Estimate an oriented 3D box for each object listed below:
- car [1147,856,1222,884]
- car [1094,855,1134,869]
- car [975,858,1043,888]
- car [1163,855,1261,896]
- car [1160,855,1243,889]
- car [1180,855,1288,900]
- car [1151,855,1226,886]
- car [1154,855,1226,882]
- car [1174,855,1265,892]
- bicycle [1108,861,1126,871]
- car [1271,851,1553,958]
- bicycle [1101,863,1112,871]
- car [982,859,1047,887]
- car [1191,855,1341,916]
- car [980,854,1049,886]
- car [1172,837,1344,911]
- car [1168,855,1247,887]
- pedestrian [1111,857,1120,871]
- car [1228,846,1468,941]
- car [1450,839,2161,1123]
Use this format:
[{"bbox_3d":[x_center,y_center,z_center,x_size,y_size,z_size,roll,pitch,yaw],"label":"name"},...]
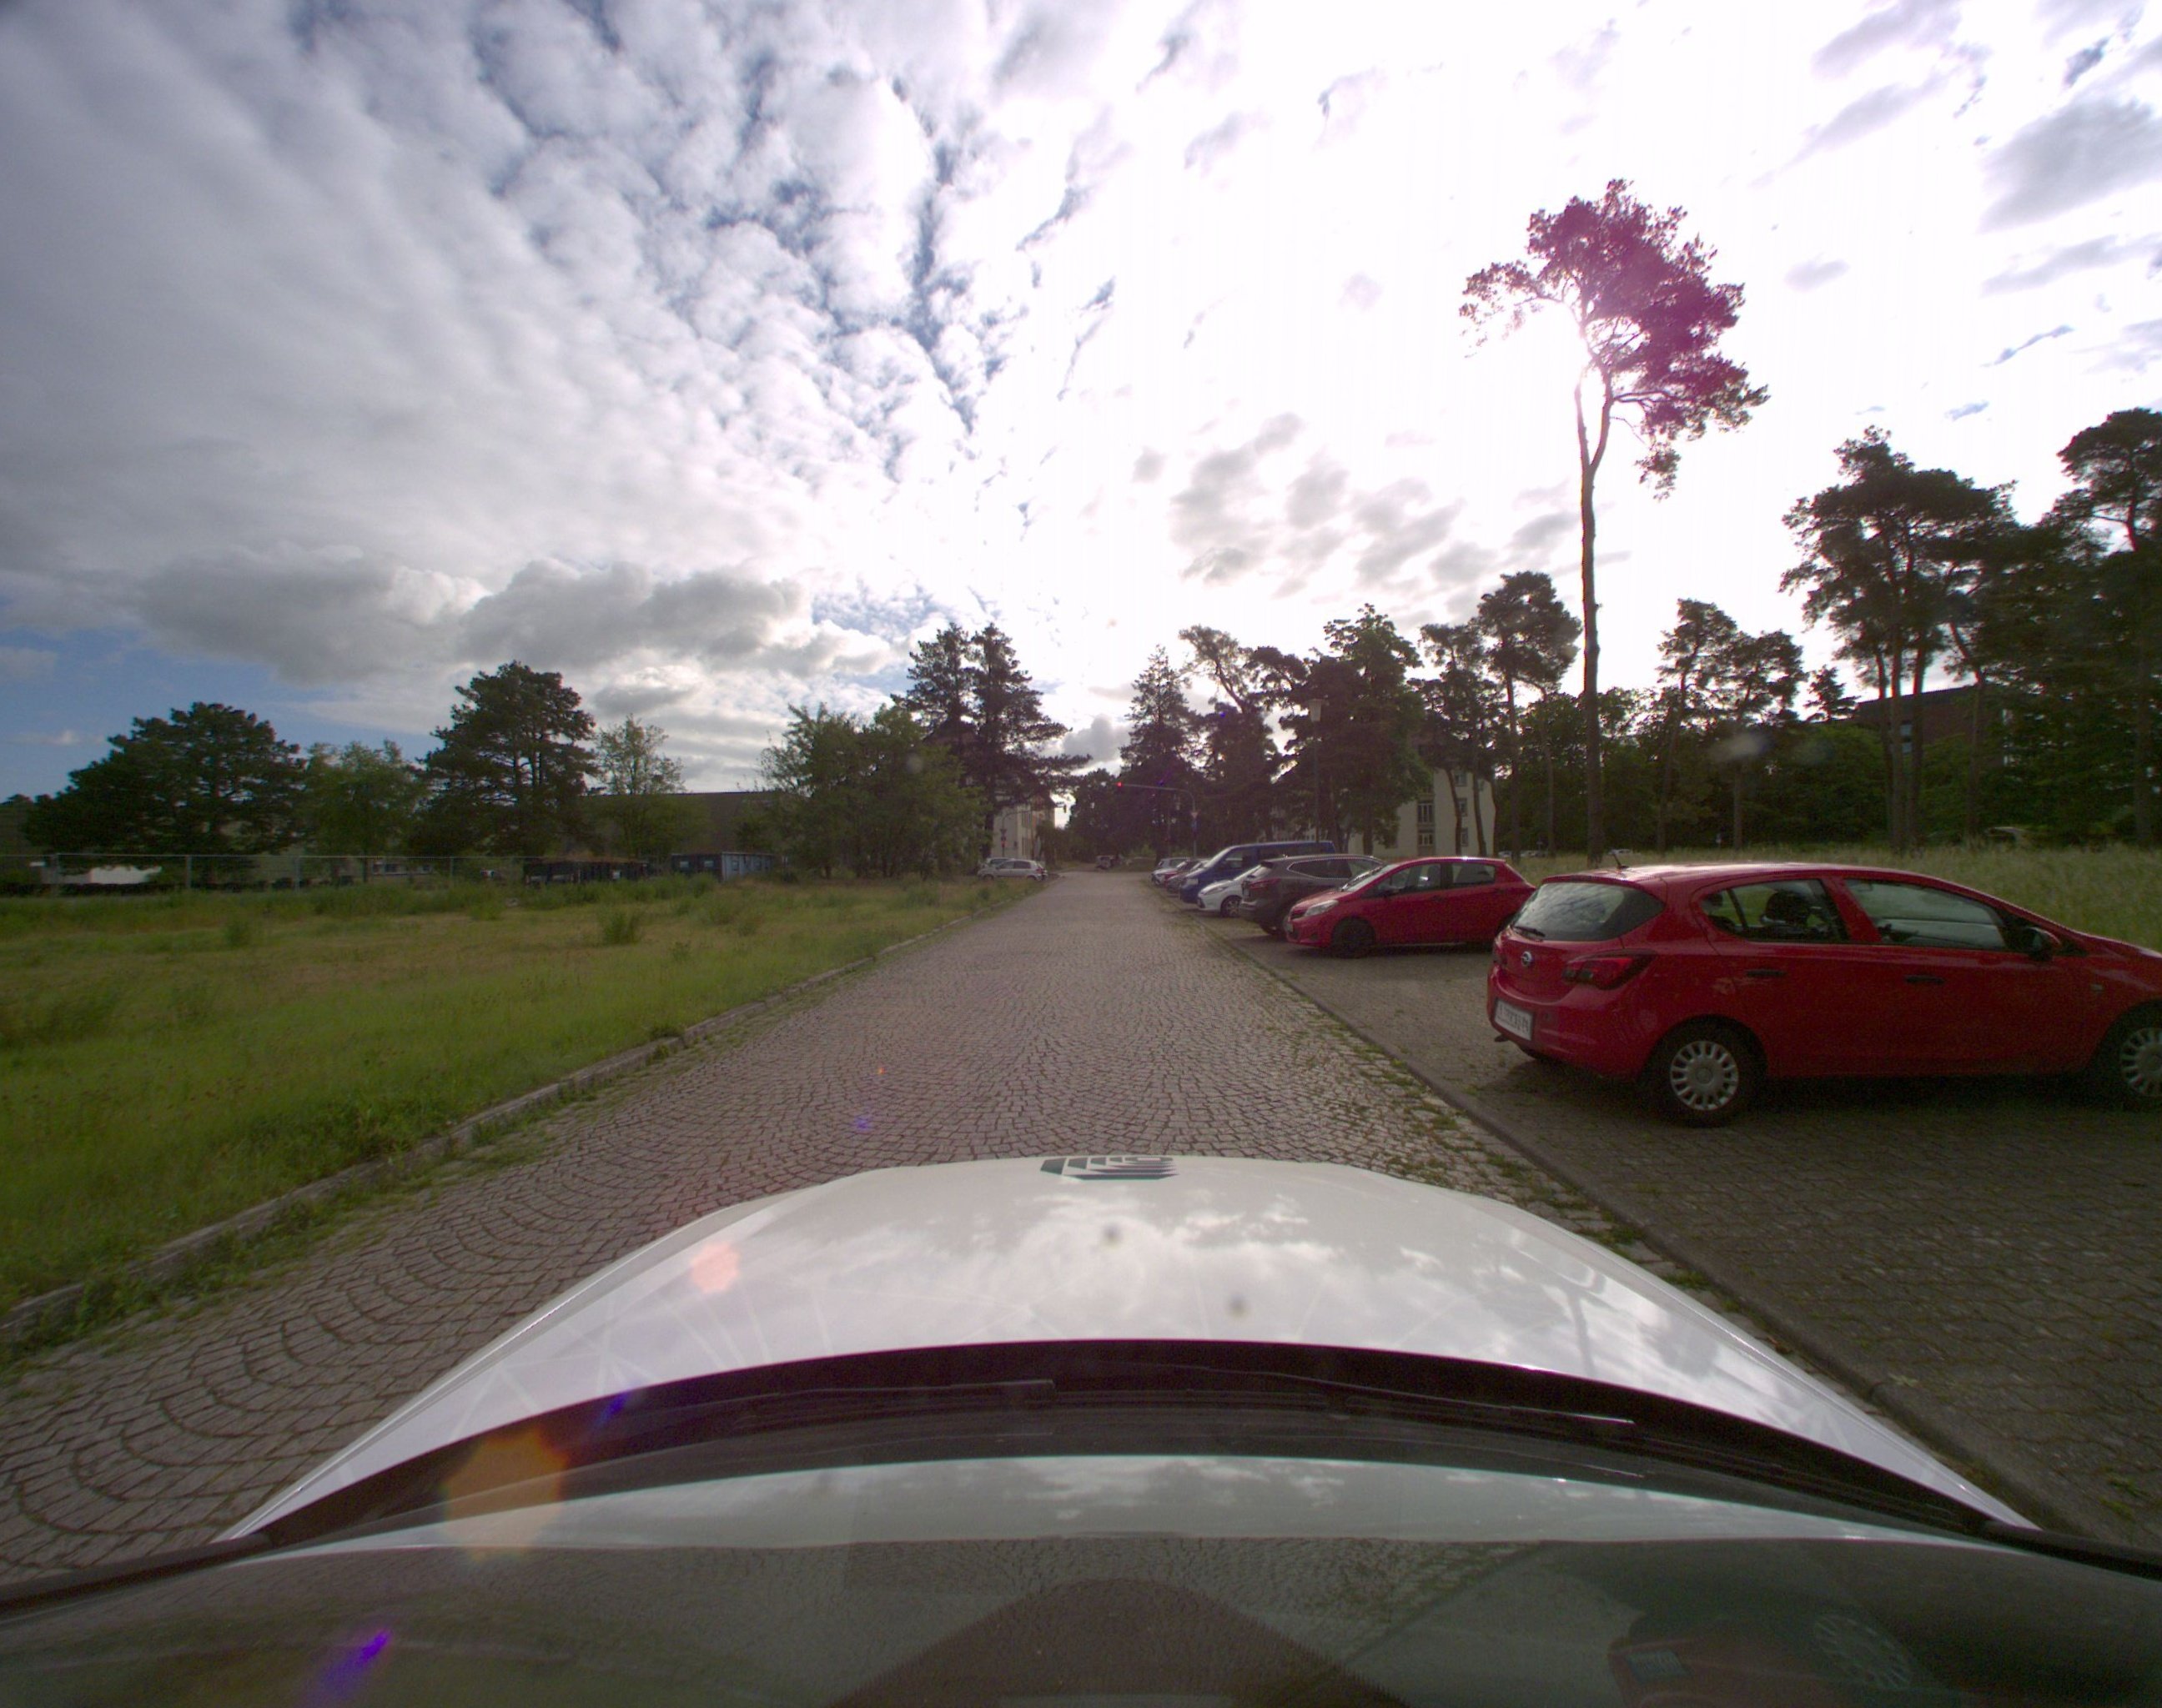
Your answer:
[{"bbox_3d":[5.807,0.891,45.837,3.959,1.421,1.618,-2,-1,-3],"label":"car"},{"bbox_3d":[4.682,1.106,115.389,5.441,2.014,2.263,0,-1,-8],"label":"car"},{"bbox_3d":[-4.167,1.112,47.625,3.811,1.572,1.563,-2,-1,-2],"label":"car"},{"bbox_3d":[5.237,0.843,32.755,3.660,1.449,1.523,-2,-1,-1],"label":"car"},{"bbox_3d":[5.639,0.836,38.444,3.660,1.449,1.523,-2,-1,-1],"label":"car"},{"bbox_3d":[5.571,0.851,29.967,3.660,1.449,1.523,-2,-1,-1],"label":"car"},{"bbox_3d":[5.631,0.870,42.984,3.663,1.421,1.522,-2,-1,-3],"label":"car"},{"bbox_3d":[6.460,0.879,48.476,3.959,1.421,1.618,-2,-1,-3],"label":"car"},{"bbox_3d":[6.031,0.833,35.728,3.660,1.449,1.523,-2,-1,-1],"label":"car"},{"bbox_3d":[4.346,1.407,97.472,2.132,1.215,0.621,0,-1,-3],"label":"bicycle"},{"bbox_3d":[5.154,0.766,13.059,3.778,1.460,1.751,-2,-1,1],"label":"car"},{"bbox_3d":[2.916,1.486,93.430,0.623,0.945,1.649,0,-1,-26],"label":"bicycle"},{"bbox_3d":[-4.047,1.164,50.040,3.808,1.572,1.564,-2,-1,1],"label":"car"},{"bbox_3d":[4.940,0.837,22.104,3.661,1.449,1.614,-2,-1,-1],"label":"car"},{"bbox_3d":[-4.303,1.027,53.036,4.247,1.840,1.744,-2,-1,1],"label":"car"},{"bbox_3d":[5.262,0.595,24.694,4.739,1.954,1.931,-2,-1,-1],"label":"car"},{"bbox_3d":[6.299,0.844,40.716,3.660,1.449,1.523,-2,-1,-1],"label":"car"},{"bbox_3d":[4.155,1.205,97.822,1.031,1.614,0.756,0,-1,-3],"label":"pedestrian"},{"bbox_3d":[5.037,0.726,15.723,4.017,1.552,1.750,-2,-1,-1],"label":"car"},{"bbox_3d":[4.805,0.721,5.481,3.812,1.460,1.779,-2,-1,1],"label":"car"}]
